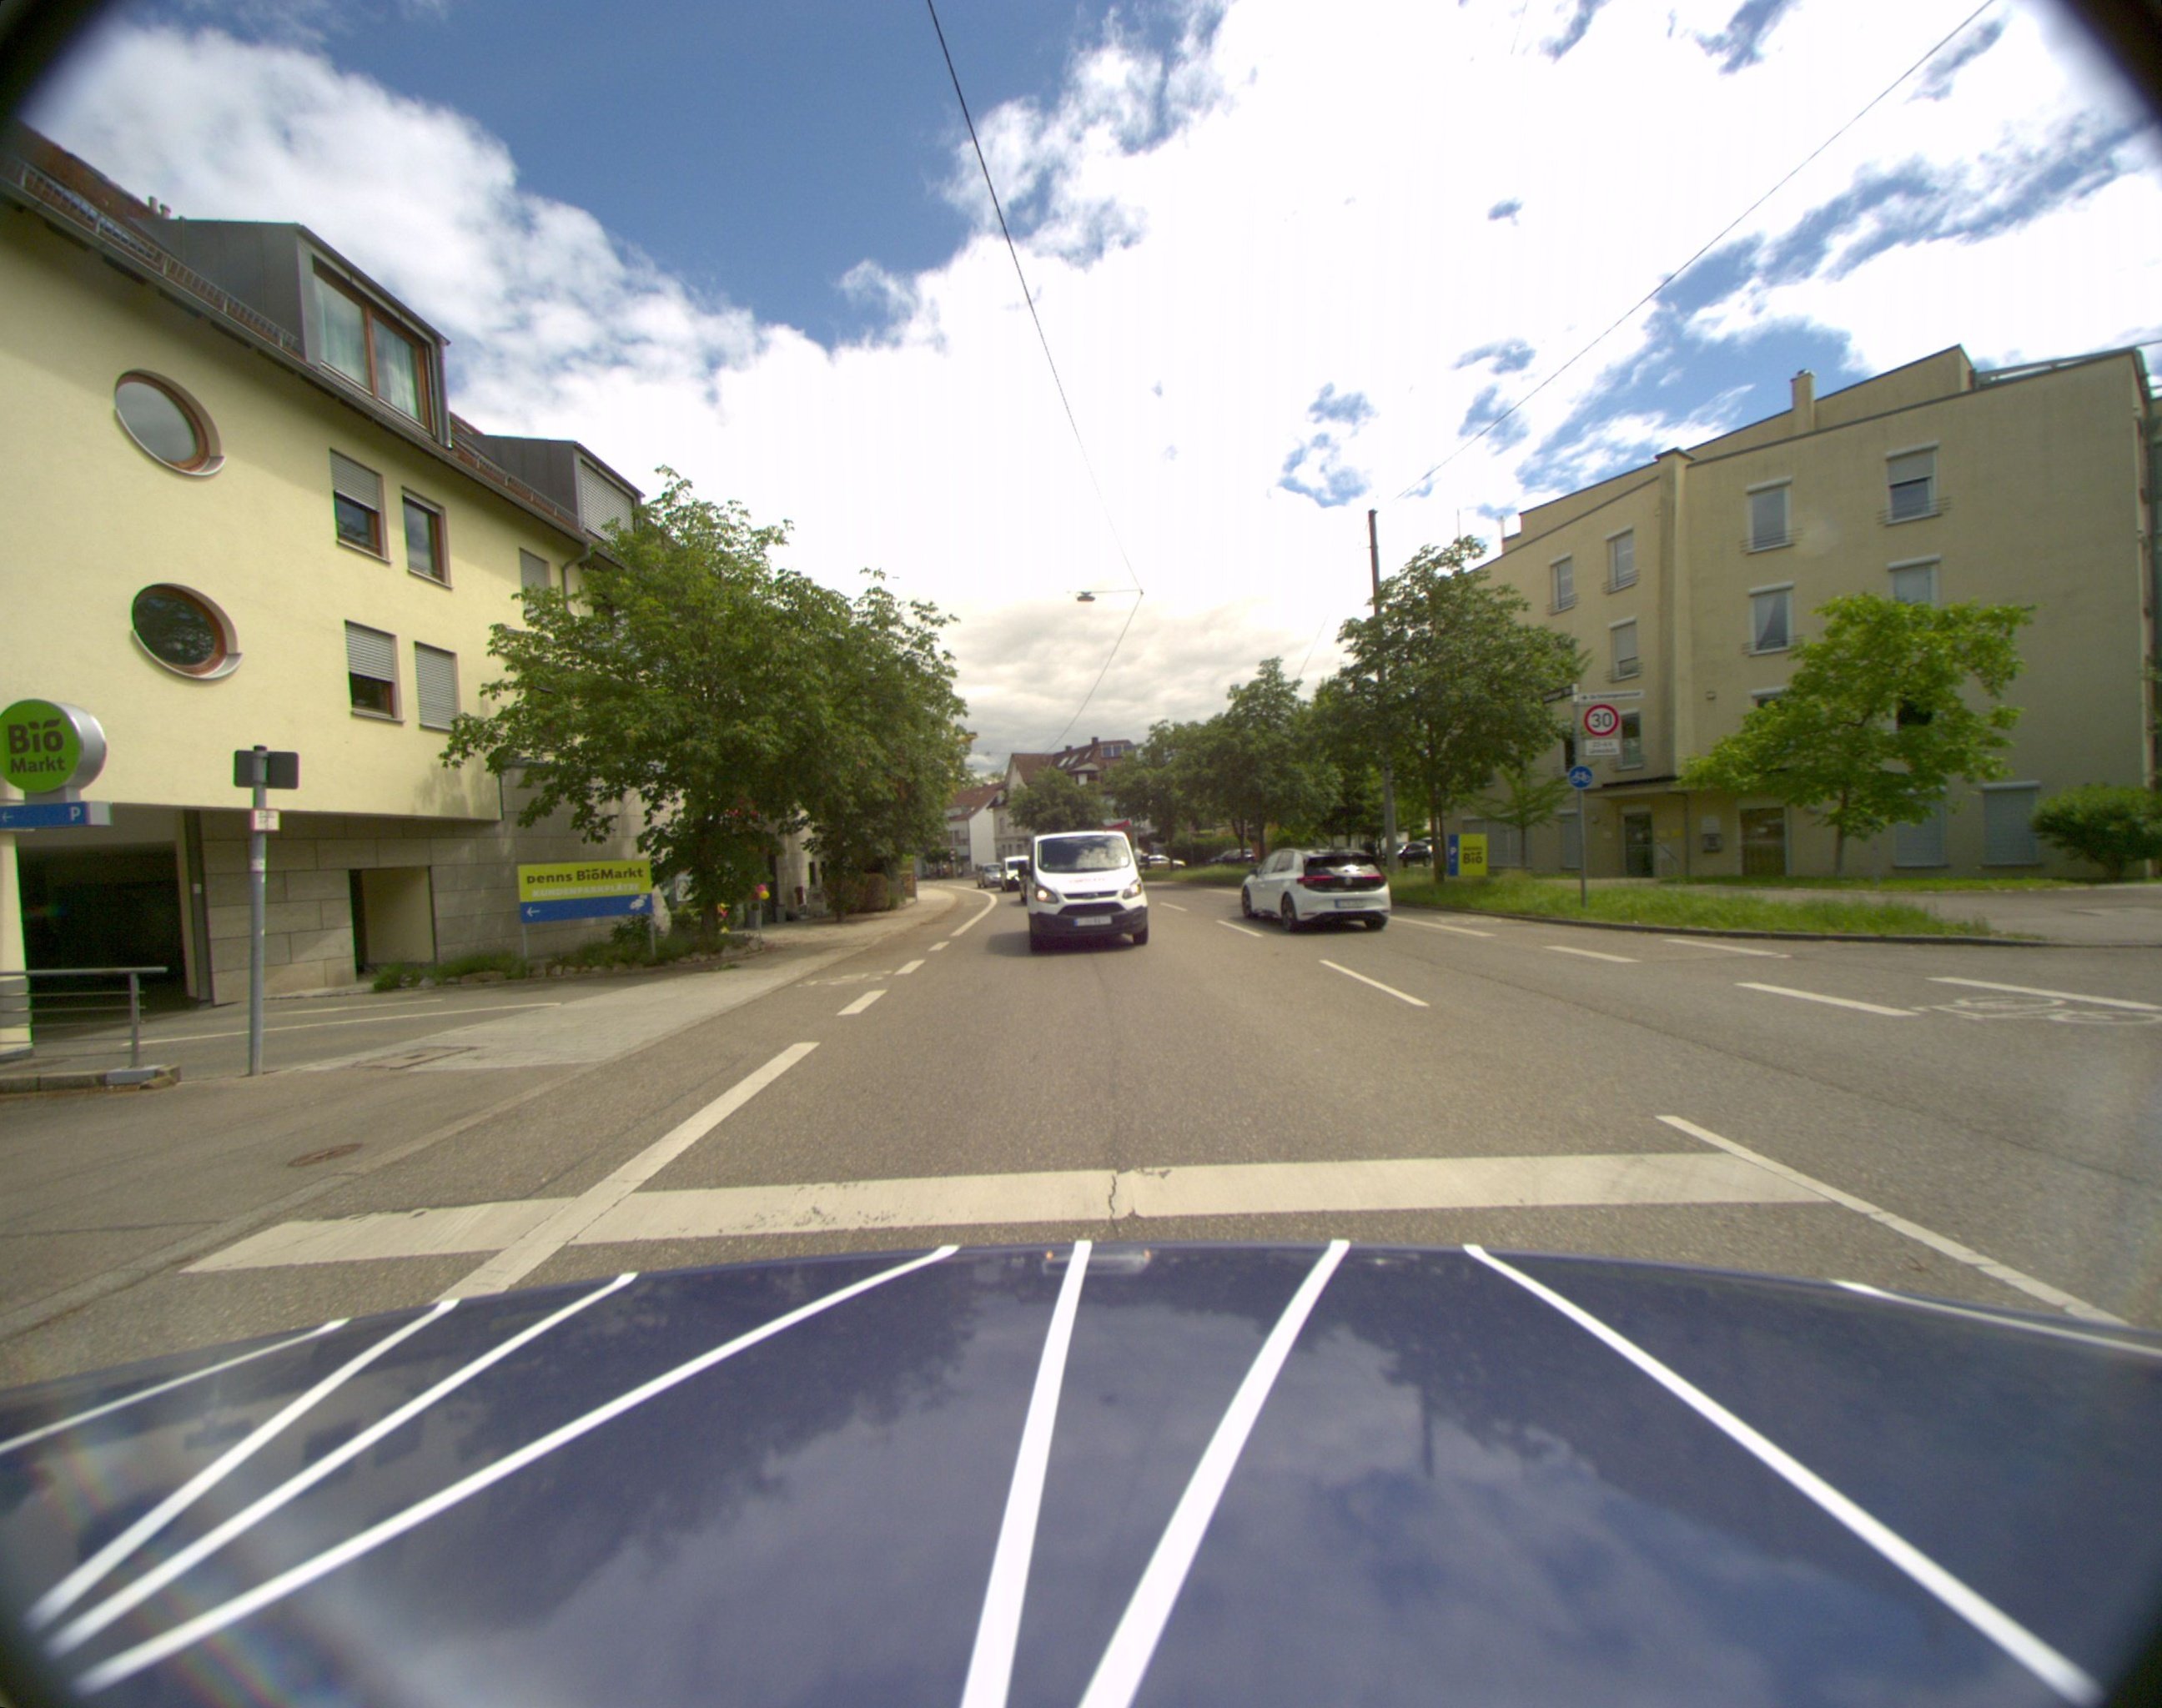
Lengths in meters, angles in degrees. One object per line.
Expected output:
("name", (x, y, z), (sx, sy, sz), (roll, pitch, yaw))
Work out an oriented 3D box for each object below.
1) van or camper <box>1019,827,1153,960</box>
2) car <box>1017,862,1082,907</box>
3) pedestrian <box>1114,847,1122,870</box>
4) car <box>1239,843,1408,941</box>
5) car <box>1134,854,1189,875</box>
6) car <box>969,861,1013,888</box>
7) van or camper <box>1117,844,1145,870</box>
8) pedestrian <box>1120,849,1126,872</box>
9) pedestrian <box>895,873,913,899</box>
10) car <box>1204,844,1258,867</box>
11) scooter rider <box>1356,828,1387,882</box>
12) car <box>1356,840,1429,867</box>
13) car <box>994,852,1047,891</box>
("van or camper", (-0.052, 0.627, 14.612), (2.027, 2.002, 5.101), (-3, 0, -3))
("car", (-1.215, 1.030, 27.470), (1.841, 1.382, 3.997), (-3, 0, -9))
("pedestrian", (3.303, 0.431, 67.826), (0.425, 2.002, 0.363), (-6, 2, -1))
("car", (4.538, 0.618, 14.911), (1.904, 1.571, 3.998), (-2, 1, -2))
("car", (6.562, 0.820, 61.799), (4.047, 1.314, 1.534), (-6, 1, -18))
("car", (-5.777, 1.267, 48.443), (1.695, 1.477, 3.993), (-6, 1, -21))
("van or camper", (4.267, 0.238, 65.730), (1.794, 2.077, 3.809), (-6, 1, -3))
("pedestrian", (3.746, 0.581, 67.891), (0.383, 1.979, 0.443), (-6, 2, -2))
("pedestrian", (-9.146, 1.652, 39.274), (0.731, 1.293, 0.753), (-3, 1, -5))
("car", (12.318, 0.129, 62.565), (3.978, 1.672, 1.716), (-3, 1, -8))
("scooter rider", (11.078, 0.029, 29.039), (0.678, 2.002, 0.794), (-6, 2, -5))
("car", (17.448, -0.039, 42.483), (4.007, 1.411, 1.789), (-1, -1, -34))
("car", (-3.257, 0.897, 40.065), (1.854, 1.805, 3.995), (-6, 1, -16))
